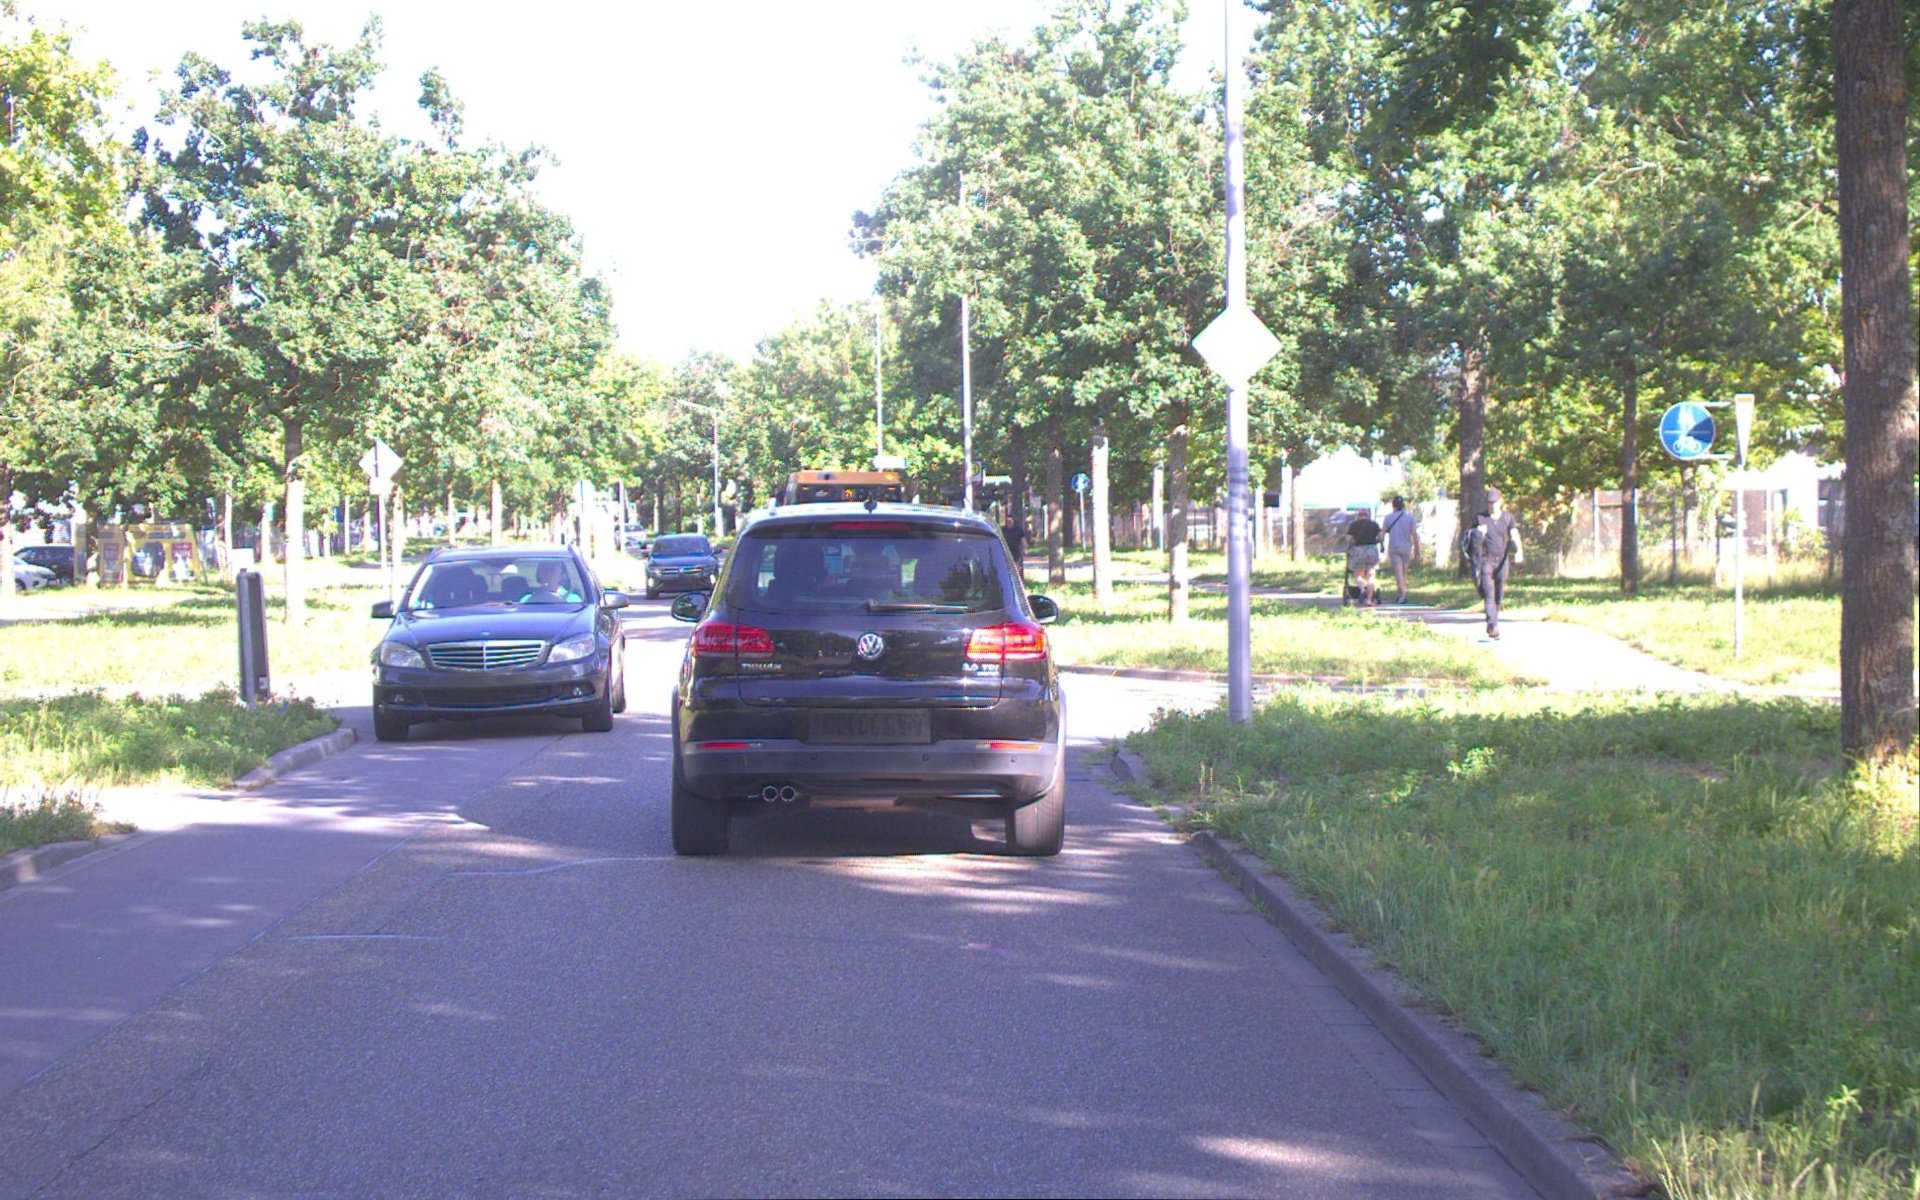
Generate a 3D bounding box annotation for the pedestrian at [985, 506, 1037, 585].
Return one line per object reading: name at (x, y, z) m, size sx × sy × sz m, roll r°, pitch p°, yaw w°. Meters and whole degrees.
pedestrian at (1.080, -1.164, 73.044) m, size 1.019 × 1.646 × 1.100 m, roll -1°, pitch 1°, yaw -3°

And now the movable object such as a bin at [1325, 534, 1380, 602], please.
movable object such as a bin at (6.461, -0.532, 56.644) m, size 0.725 × 1.077 × 0.868 m, roll -3°, pitch 1°, yaw -3°

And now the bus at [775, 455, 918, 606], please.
bus at (-2.929, -1.763, 85.412) m, size 2.764 × 3.444 × 11.213 m, roll -1°, pitch 2°, yaw -6°

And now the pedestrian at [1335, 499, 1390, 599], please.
pedestrian at (6.523, -0.836, 55.757) m, size 0.725 × 1.597 × 0.868 m, roll -1°, pitch 1°, yaw -3°

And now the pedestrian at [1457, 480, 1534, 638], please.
pedestrian at (6.304, -0.491, 40.475) m, size 0.725 × 1.806 × 0.868 m, roll -1°, pitch 4°, yaw -3°

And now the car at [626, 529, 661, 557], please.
car at (-18.177, -3.283, 197.748) m, size 1.744 × 1.460 × 4.428 m, roll -2°, pitch 2°, yaw -2°

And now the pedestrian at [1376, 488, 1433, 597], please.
pedestrian at (7.357, -0.957, 56.920) m, size 0.725 × 1.749 × 0.868 m, roll -3°, pitch 1°, yaw -2°

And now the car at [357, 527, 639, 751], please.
car at (-3.562, 0.236, 27.215) m, size 1.765 × 1.523 × 4.496 m, roll -2°, pitch 2°, yaw -3°

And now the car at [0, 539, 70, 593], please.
car at (-29.320, -1.034, 104.802) m, size 3.744 × 1.612 × 1.963 m, roll -1°, pitch 1°, yaw 12°

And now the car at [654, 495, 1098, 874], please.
car at (-0.471, 0.310, 17.365) m, size 1.936 × 1.650 × 4.428 m, roll 1°, pitch 2°, yaw -3°

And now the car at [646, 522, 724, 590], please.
car at (-6.771, -1.104, 85.018) m, size 1.804 × 1.531 × 4.496 m, roll -2°, pitch 2°, yaw -4°
